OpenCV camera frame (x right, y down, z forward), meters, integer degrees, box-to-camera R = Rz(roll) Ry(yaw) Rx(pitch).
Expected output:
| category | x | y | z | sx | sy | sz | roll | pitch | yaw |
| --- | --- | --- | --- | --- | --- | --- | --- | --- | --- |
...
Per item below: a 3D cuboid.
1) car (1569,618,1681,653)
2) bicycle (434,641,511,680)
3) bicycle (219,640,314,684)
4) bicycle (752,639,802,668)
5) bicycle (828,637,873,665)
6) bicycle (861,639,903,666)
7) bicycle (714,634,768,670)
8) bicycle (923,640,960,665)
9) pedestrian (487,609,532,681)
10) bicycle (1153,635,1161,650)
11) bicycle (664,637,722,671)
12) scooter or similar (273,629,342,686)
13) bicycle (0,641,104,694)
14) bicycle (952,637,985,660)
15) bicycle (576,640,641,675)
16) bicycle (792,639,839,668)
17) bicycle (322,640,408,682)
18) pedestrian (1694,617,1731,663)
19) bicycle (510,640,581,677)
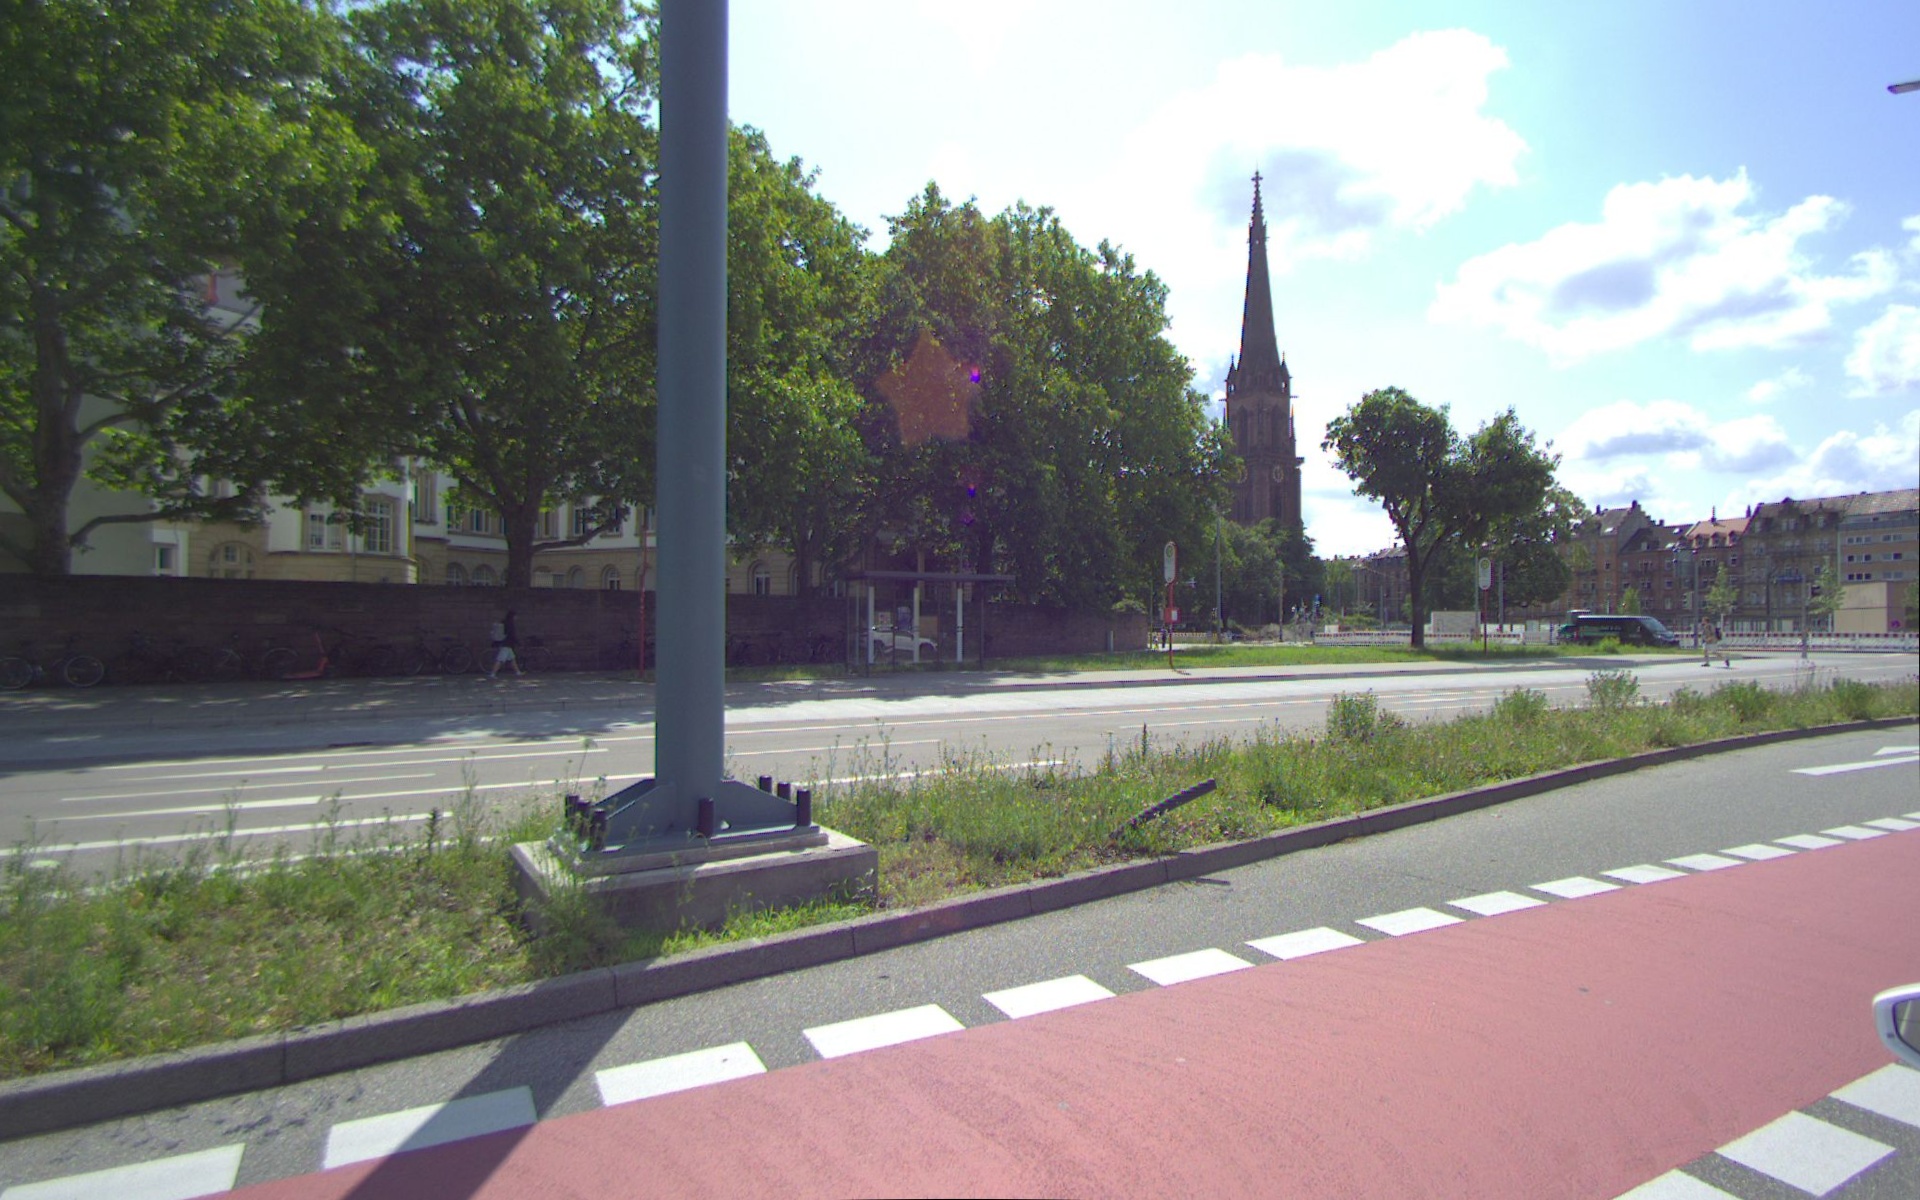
| category | x | y | z | sx | sy | sz | roll | pitch | yaw |
| --- | --- | --- | --- | --- | --- | --- | --- | --- | --- |
| car | 37.683 | 1.973 | 57.065 | 1.907 | 1.904 | 4.981 | 0 | -1 | -32 |
| bicycle | -12.184 | 1.495 | 25.135 | 1.654 | 0.914 | 0.538 | 1 | -1 | -45 |
| bicycle | -15.161 | 1.339 | 21.983 | 1.653 | 0.914 | 0.539 | 2 | -2 | -42 |
| bicycle | -5.930 | 1.728 | 32.620 | 0.537 | 0.914 | 1.658 | -1 | -1 | 39 |
| bicycle | -3.837 | 1.784 | 35.314 | 0.537 | 0.914 | 1.658 | -1 | -1 | 39 |
| bicycle | -2.845 | 1.911 | 36.795 | 0.446 | 0.914 | 1.786 | -1 | -1 | 39 |
| bicycle | -6.785 | 1.592 | 31.141 | 0.538 | 1.065 | 1.614 | -1 | -1 | 43 |
| bicycle | -0.727 | 2.061 | 39.645 | 0.537 | 0.914 | 1.658 | -1 | -1 | 39 |
| pedestrian | -10.517 | 1.034 | 23.450 | 0.607 | 1.638 | 0.754 | 1 | 0 | 39 |
| bicycle | 13.044 | 2.814 | 66.527 | 0.534 | 0.914 | 1.666 | 0 | -1 | 12 |
| bicycle | -7.944 | 1.591 | 29.917 | 0.538 | 0.964 | 1.656 | -1 | -1 | 43 |
| scooter or similar | -14.239 | 1.232 | 21.949 | 0.427 | 1.199 | 1.187 | -1 | -1 | 39 |
| bicycle | -17.536 | 1.277 | 19.285 | 1.653 | 0.962 | 0.539 | 1 | -1 | -42 |
| bicycle | 0.359 | 1.979 | 41.426 | 0.536 | 0.914 | 1.660 | 0 | -1 | 35 |
| bicycle | -9.728 | 1.583 | 27.827 | 0.538 | 0.914 | 1.655 | -1 | -1 | 45 |
| bicycle | -4.865 | 1.791 | 33.970 | 0.537 | 0.914 | 1.658 | -1 | -1 | 39 |
| bicycle | -13.800 | 1.393 | 23.311 | 1.653 | 0.914 | 0.539 | 1 | -1 | -42 |
| pedestrian | 26.442 | 1.394 | 35.302 | 0.858 | 1.580 | 0.556 | 0 | -1 | 13 |
| bicycle | -10.841 | 1.518 | 26.274 | 1.648 | 0.914 | 0.499 | 1 | -1 | -34 |
